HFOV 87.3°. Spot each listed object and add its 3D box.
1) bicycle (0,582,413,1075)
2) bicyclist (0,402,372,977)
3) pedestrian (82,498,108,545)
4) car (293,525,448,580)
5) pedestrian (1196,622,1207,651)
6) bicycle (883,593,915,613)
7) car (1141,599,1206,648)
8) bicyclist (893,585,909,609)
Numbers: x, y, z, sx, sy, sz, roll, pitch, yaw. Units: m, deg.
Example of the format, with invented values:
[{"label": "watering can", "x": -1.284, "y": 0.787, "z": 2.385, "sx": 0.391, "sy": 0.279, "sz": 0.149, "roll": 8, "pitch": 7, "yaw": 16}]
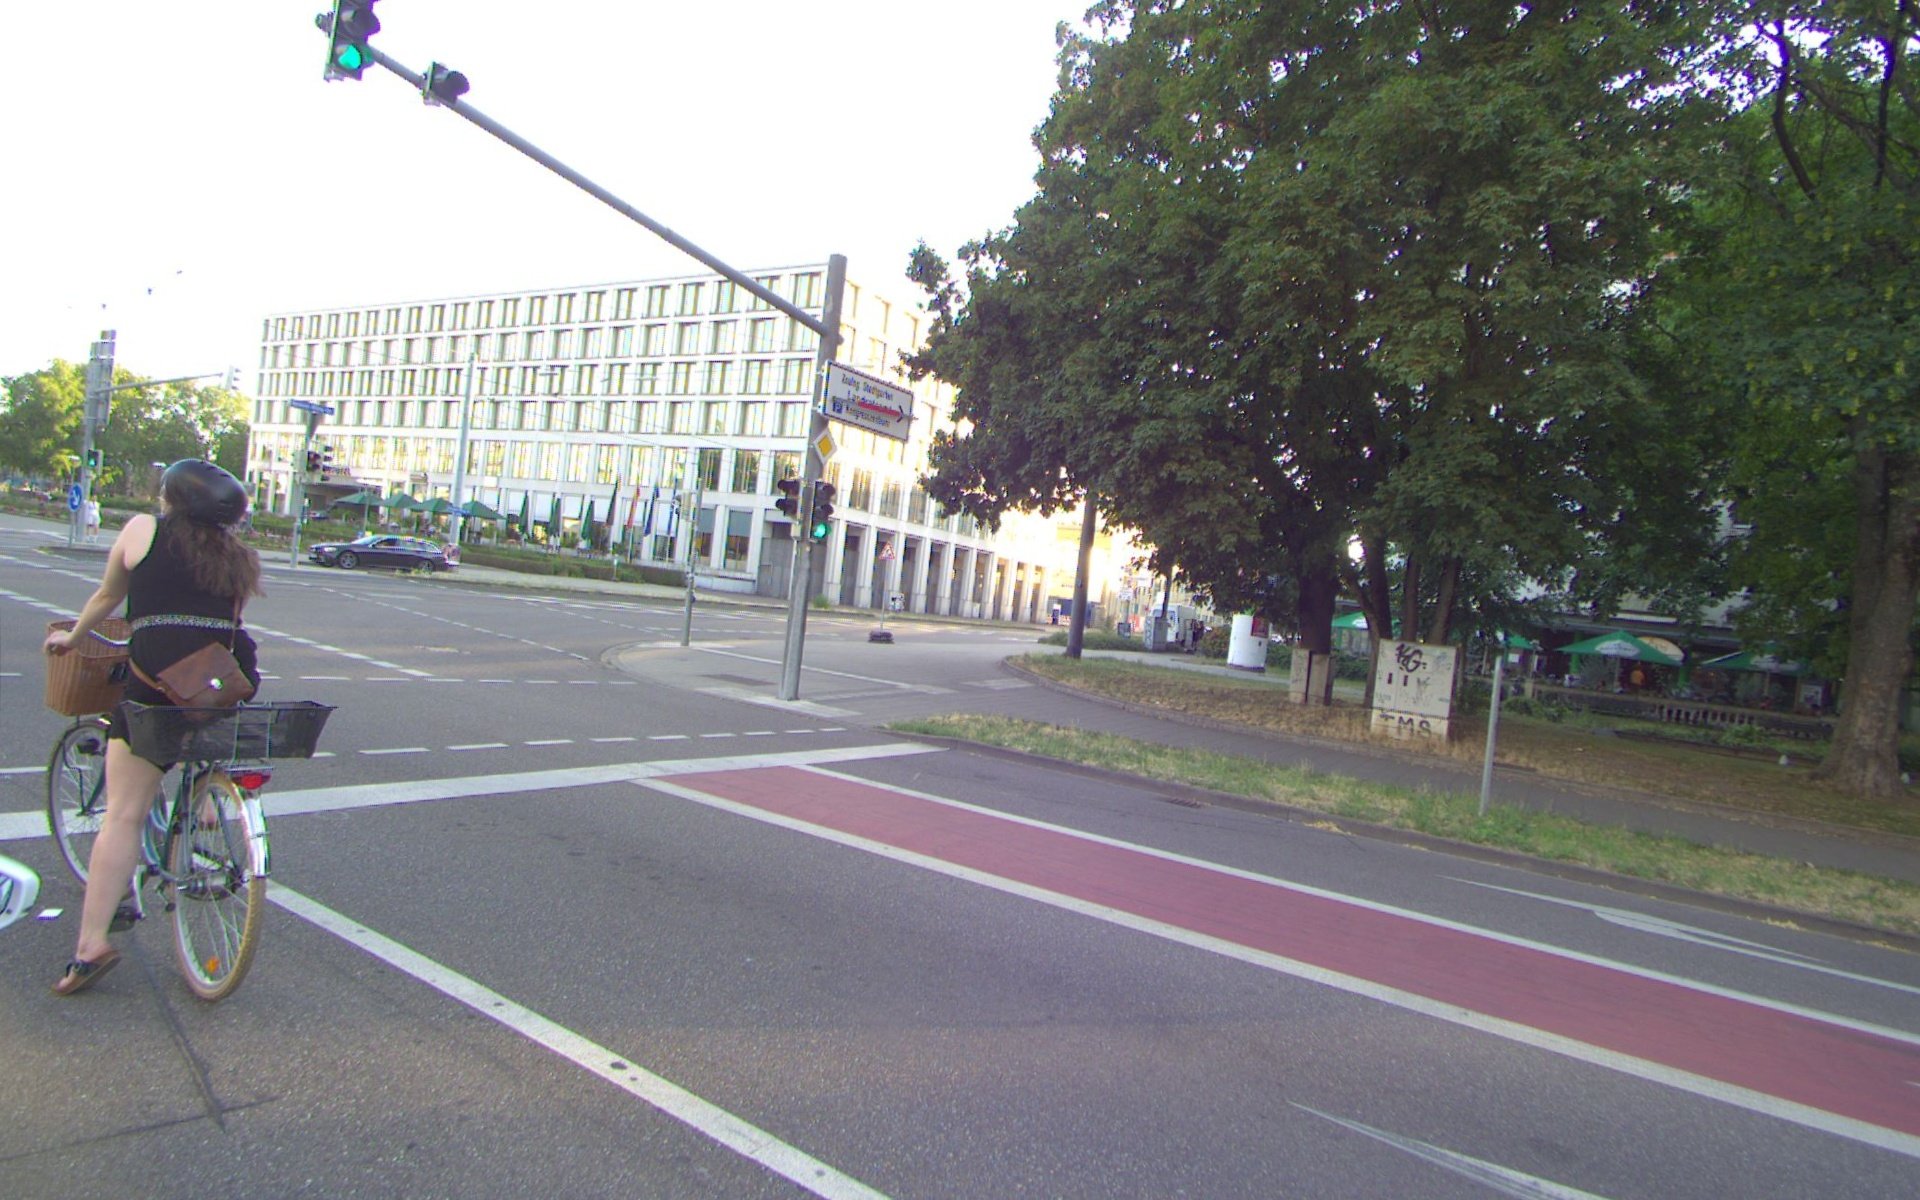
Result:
[{"label": "bicycle", "x": -2.787, "y": 0.617, "z": 3.440, "sx": 1.971, "sy": 1.146, "sz": 0.612, "roll": 7, "pitch": -1, "yaw": 32}, {"label": "bicyclist", "x": -2.654, "y": 0.235, "z": 3.392, "sx": 0.982, "sy": 1.655, "sz": 0.600, "roll": 7, "pitch": 0, "yaw": 32}, {"label": "pedestrian", "x": -30.135, "y": -2.742, "z": 35.059, "sx": 0.402, "sy": 1.559, "sz": 0.491, "roll": 7, "pitch": 2, "yaw": 31}, {"label": "car", "x": -23.000, "y": -1.819, "z": 39.439, "sx": 1.968, "sy": 1.534, "sz": 4.826, "roll": 7, "pitch": 0, "yaw": 34}, {"label": "pedestrian", "x": 13.391, "y": 2.019, "z": 55.745, "sx": 0.302, "sy": 1.525, "sz": 0.336, "roll": 7, "pitch": -1, "yaw": 31}, {"label": "bicycle", "x": -4.077, "y": 0.203, "z": 67.357, "sx": 0.592, "sy": 1.120, "sz": 2.775, "roll": 7, "pitch": 0, "yaw": 29}, {"label": "car", "x": 11.789, "y": 1.338, "z": 55.339, "sx": 1.967, "sy": 2.318, "sz": 4.605, "roll": 6, "pitch": 0, "yaw": 31}, {"label": "bicyclist", "x": -3.962, "y": -0.196, "z": 67.475, "sx": 0.567, "sy": 1.556, "sz": 0.708, "roll": 7, "pitch": 1, "yaw": 29}]
